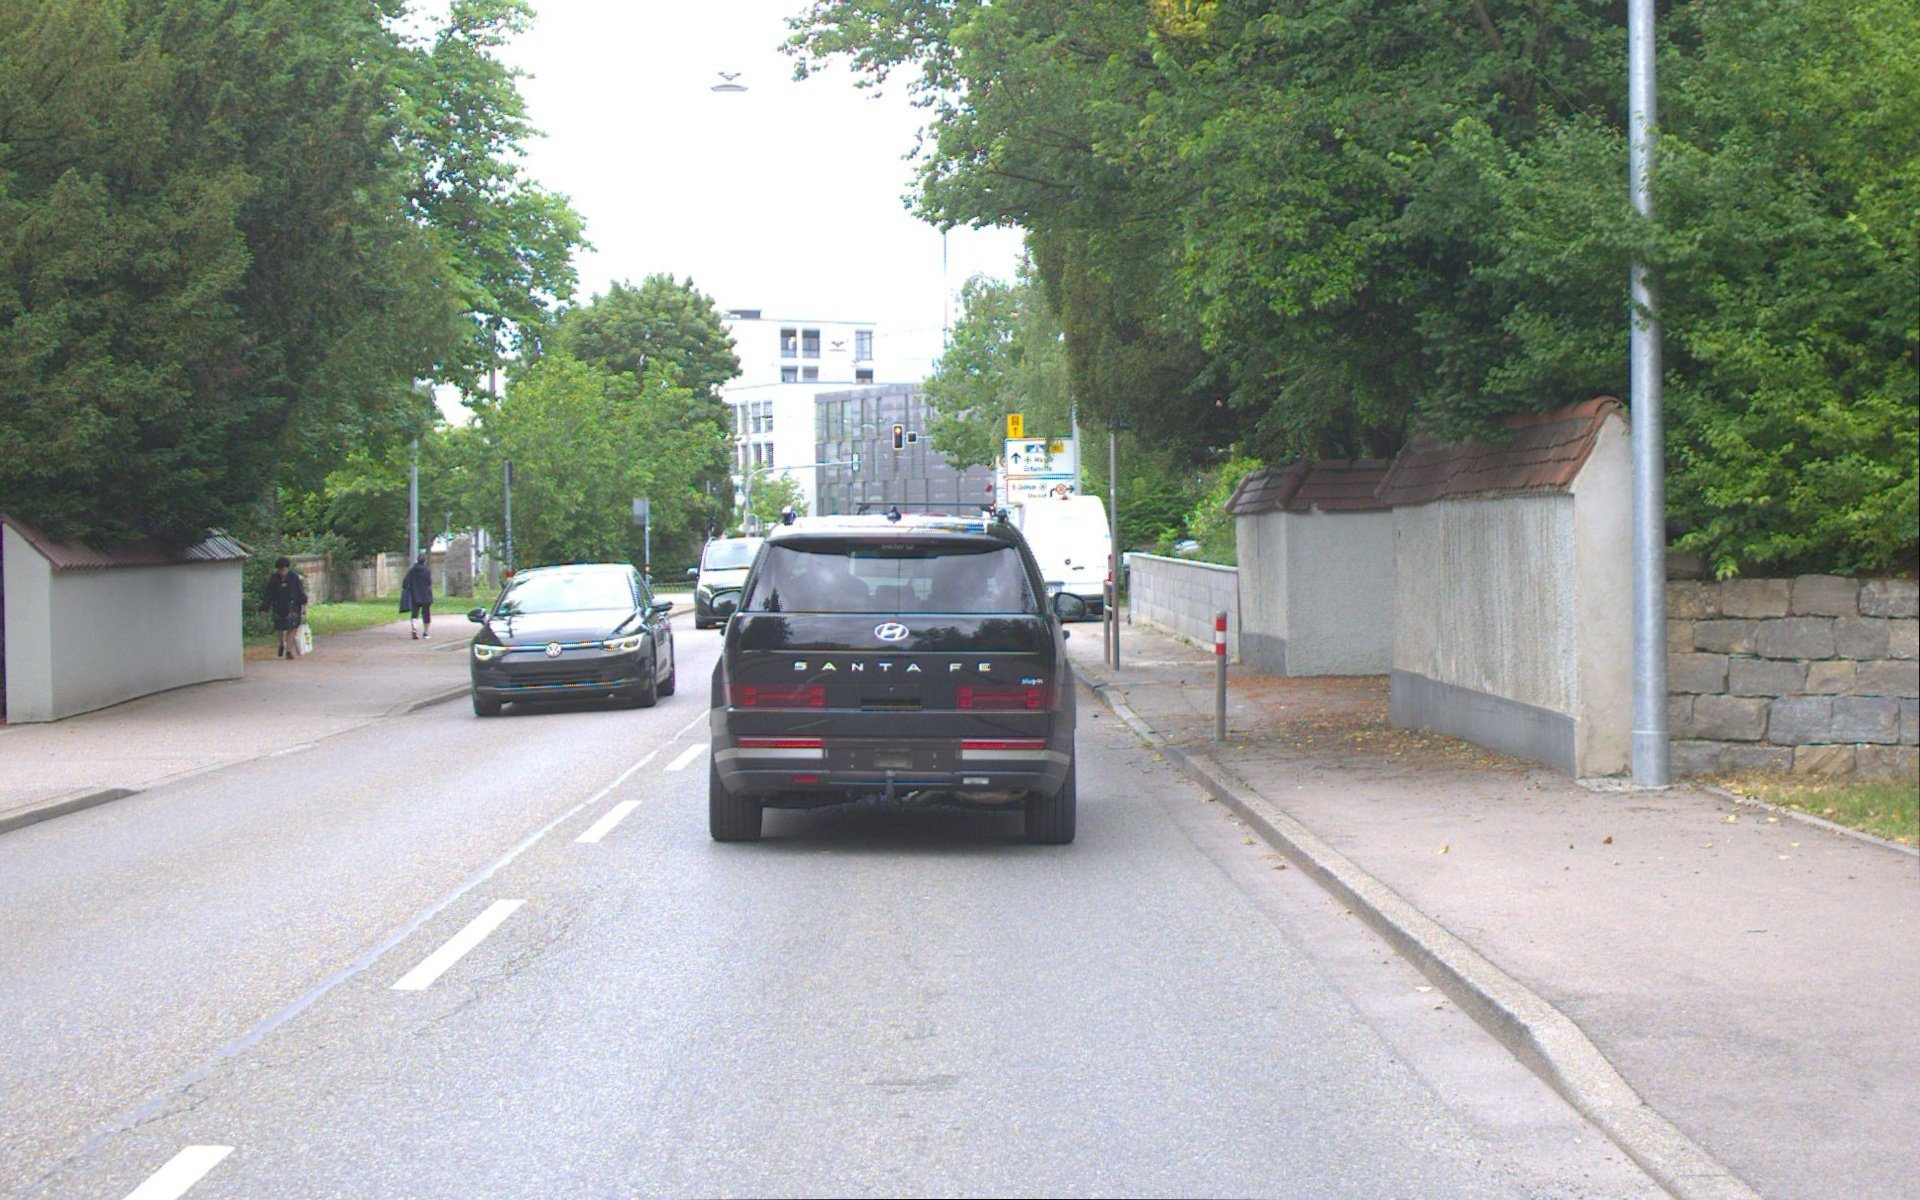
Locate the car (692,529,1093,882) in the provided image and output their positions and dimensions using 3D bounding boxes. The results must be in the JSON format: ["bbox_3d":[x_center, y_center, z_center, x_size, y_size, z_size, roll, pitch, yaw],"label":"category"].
[{"bbox_3d":[-0.329,0.477,18.868,1.963,1.705,4.000,0,2,0],"label":"car"}]

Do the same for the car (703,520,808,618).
[{"bbox_3d":[-4.285,-0.693,72.645,1.890,1.849,5.084,-5,1,-1],"label":"car"}]

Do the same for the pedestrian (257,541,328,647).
[{"bbox_3d":[-10.034,-0.093,51.695,0.925,1.555,0.902,1,0,-4],"label":"pedestrian"}]

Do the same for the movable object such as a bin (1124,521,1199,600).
[{"bbox_3d":[3.851,-0.754,65.770,1.299,1.445,1.181,-2,1,0],"label":"movable object such as a bin"}]

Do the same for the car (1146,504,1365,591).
[{"bbox_3d":[6.145,-1.107,71.878,4.394,1.646,1.830,-2,2,1],"label":"car"}]

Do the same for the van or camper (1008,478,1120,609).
[{"bbox_3d":[2.206,-1.257,74.541,1.963,2.618,6.359,-3,2,-1],"label":"van or camper"}]

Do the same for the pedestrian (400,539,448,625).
[{"bbox_3d":[-9.965,-0.347,63.937,0.748,1.572,0.967,0,1,0],"label":"pedestrian"}]

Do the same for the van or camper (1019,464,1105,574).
[{"bbox_3d":[2.744,-2.216,93.447,1.963,2.787,5.287,-3,2,-1],"label":"van or camper"}]

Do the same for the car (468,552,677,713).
[{"bbox_3d":[-3.862,0.278,34.810,1.785,1.423,4.001,-3,1,-3],"label":"car"}]

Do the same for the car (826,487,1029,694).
[{"bbox_3d":[-0.356,-0.142,35.802,1.963,1.994,4.000,-1,1,-1],"label":"car"}]
